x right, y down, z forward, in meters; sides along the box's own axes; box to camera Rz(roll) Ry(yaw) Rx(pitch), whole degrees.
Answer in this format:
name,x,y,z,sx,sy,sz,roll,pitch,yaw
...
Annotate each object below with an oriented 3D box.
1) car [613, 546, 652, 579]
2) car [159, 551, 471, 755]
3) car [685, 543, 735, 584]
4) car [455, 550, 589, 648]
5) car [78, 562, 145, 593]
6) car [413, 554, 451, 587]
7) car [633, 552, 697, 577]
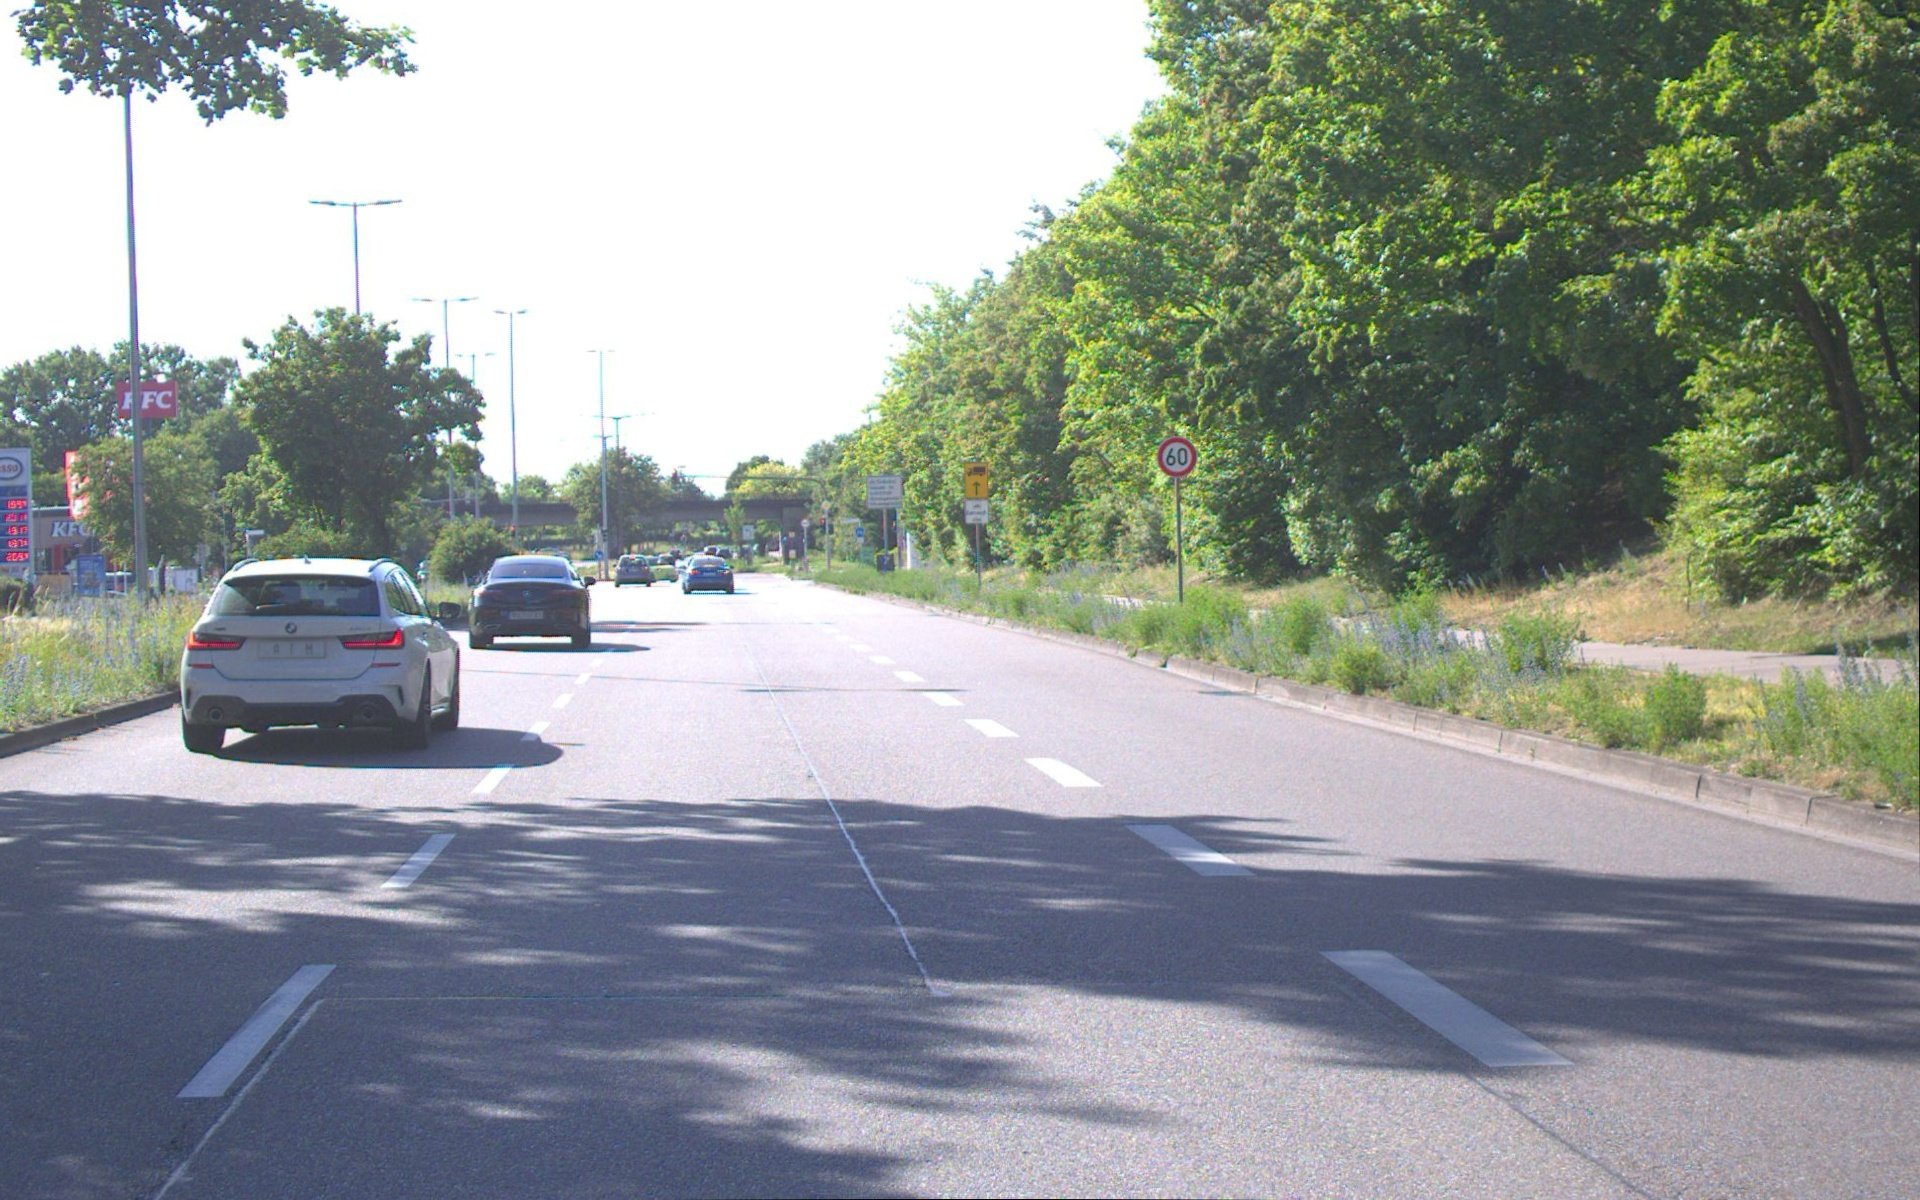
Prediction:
name,x,y,z,sx,sy,sz,roll,pitch,yaw
car,-16.285,-1.865,171.042,1.861,1.560,4.548,-1,1,-5
car,-4.998,0.351,27.193,1.861,1.450,4.548,0,1,-3
car,-9.669,-1.414,132.704,1.861,1.494,4.337,-1,1,-5
car,-6.919,-0.052,54.657,1.861,1.450,4.548,-1,1,-5
car,-51.426,-1.342,208.335,4.083,1.777,1.922,0,1,42
car,-31.715,-1.777,206.714,1.739,1.796,4.672,-4,1,-4
car,-17.131,-2.050,199.660,3.457,1.392,1.438,-1,1,28
